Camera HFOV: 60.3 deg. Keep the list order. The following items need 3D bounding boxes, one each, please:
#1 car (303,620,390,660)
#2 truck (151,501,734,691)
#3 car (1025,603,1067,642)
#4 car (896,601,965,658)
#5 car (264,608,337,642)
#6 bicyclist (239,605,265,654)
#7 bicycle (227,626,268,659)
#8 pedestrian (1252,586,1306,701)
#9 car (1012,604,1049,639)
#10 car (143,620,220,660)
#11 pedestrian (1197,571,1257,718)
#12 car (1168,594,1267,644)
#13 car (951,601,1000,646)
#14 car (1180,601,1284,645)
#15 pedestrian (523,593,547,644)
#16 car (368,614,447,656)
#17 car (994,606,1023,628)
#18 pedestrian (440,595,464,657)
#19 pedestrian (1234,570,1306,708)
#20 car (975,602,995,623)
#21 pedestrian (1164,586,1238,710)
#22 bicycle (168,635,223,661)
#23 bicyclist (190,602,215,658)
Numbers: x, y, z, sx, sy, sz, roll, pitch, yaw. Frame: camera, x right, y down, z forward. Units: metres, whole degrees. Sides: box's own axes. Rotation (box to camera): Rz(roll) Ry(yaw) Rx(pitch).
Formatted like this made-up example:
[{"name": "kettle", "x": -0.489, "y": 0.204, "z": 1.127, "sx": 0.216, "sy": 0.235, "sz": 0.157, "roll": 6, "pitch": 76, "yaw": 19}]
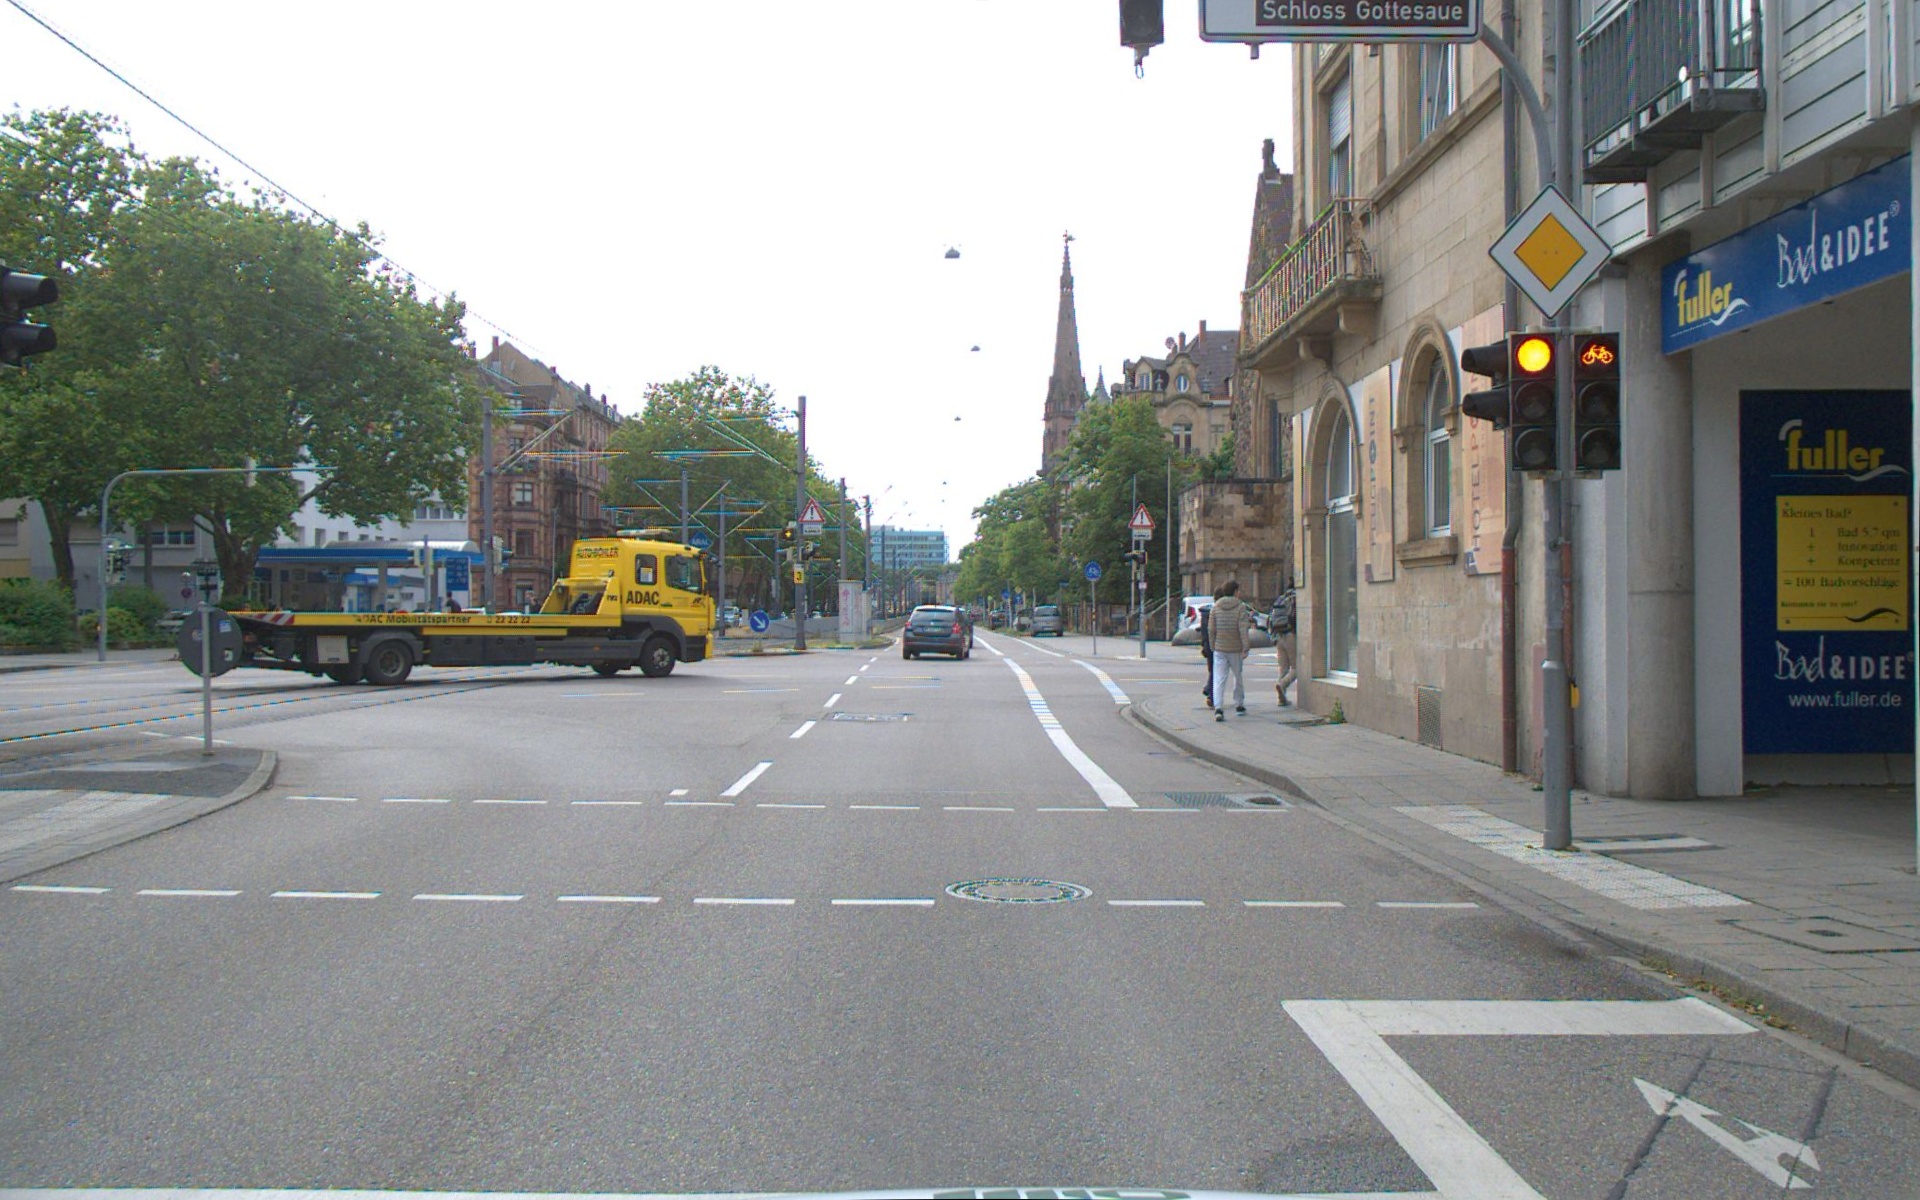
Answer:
[{"name": "car", "x": -21.702, "y": 1.391, "z": 58.661, "sx": 1.601, "sy": 1.349, "sz": 3.999, "roll": 1, "pitch": -1, "yaw": -1}, {"name": "truck", "x": -9.097, "y": -0.017, "z": 30.442, "sx": 10.091, "sy": 2.992, "sz": 2.597, "roll": 1, "pitch": 0, "yaw": -42}, {"name": "car", "x": 4.644, "y": 1.212, "z": 90.064, "sx": 1.953, "sy": 2.049, "sz": 3.999, "roll": 1, "pitch": -1, "yaw": -1}, {"name": "car", "x": -0.830, "y": 0.817, "z": 46.345, "sx": 1.798, "sy": 1.495, "sz": 3.991, "roll": 1, "pitch": -1, "yaw": -1}, {"name": "car", "x": -31.856, "y": 1.187, "z": 79.968, "sx": 1.953, "sy": 1.557, "sz": 3.999, "roll": 1, "pitch": -1, "yaw": -1}, {"name": "bicyclist", "x": -23.520, "y": 0.979, "z": 54.941, "sx": 0.576, "sy": 1.595, "sz": 0.618, "roll": 1, "pitch": -1, "yaw": -1}, {"name": "bicycle", "x": -23.524, "y": 1.403, "z": 54.653, "sx": 0.511, "sy": 1.035, "sz": 1.936, "roll": 1, "pitch": -1, "yaw": -1}, {"name": "pedestrian", "x": 4.592, "y": 0.620, "z": 23.861, "sx": 0.685, "sy": 1.621, "sz": 0.831, "roll": 1, "pitch": -1, "yaw": 7}, {"name": "car", "x": 4.214, "y": 1.285, "z": 99.705, "sx": 1.953, "sy": 2.049, "sz": 3.999, "roll": 1, "pitch": -1, "yaw": -1}, {"name": "car", "x": -32.537, "y": 1.663, "z": 69.246, "sx": 1.859, "sy": 1.585, "sz": 3.828, "roll": 1, "pitch": -1, "yaw": -9}, {"name": "pedestrian", "x": 3.482, "y": 0.569, "z": 21.504, "sx": 0.571, "sy": 1.845, "sz": 1.015, "roll": 1, "pitch": -1, "yaw": 19}, {"name": "car", "x": 10.636, "y": 0.780, "z": 68.457, "sx": 3.721, "sy": 1.937, "sz": 2.000, "roll": 1, "pitch": -1, "yaw": -1}, {"name": "car", "x": 0.552, "y": 0.888, "z": 62.918, "sx": 1.769, "sy": 1.614, "sz": 4.340, "roll": 1, "pitch": -1, "yaw": -1}, {"name": "car", "x": 10.683, "y": 0.904, "z": 65.046, "sx": 3.721, "sy": 1.629, "sz": 2.000, "roll": 1, "pitch": -1, "yaw": -1}, {"name": "pedestrian", "x": -13.247, "y": 0.585, "z": 51.584, "sx": 0.640, "sy": 1.564, "sz": 0.465, "roll": 1, "pitch": -1, "yaw": -5}, {"name": "car", "x": -21.657, "y": 1.348, "z": 65.003, "sx": 1.856, "sy": 1.585, "sz": 3.835, "roll": 1, "pitch": -1, "yaw": -1}, {"name": "car", "x": 3.752, "y": 1.296, "z": 128.429, "sx": 1.953, "sy": 1.635, "sz": 4.163, "roll": -2, "pitch": 0, "yaw": -1}, {"name": "pedestrian", "x": -15.040, "y": 0.767, "z": 48.974, "sx": 0.562, "sy": 1.826, "sz": 0.518, "roll": 1, "pitch": -1, "yaw": -5}, {"name": "pedestrian", "x": 4.251, "y": 0.524, "z": 22.659, "sx": 0.614, "sy": 1.809, "sz": 1.133, "roll": -3, "pitch": -1, "yaw": 25}, {"name": "car", "x": 2.589, "y": 1.310, "z": 172.424, "sx": 1.953, "sy": 2.049, "sz": 3.999, "roll": 1, "pitch": -1, "yaw": -1}, {"name": "pedestrian", "x": 3.391, "y": 0.664, "z": 23.209, "sx": 0.616, "sy": 1.681, "sz": 0.993, "roll": 0, "pitch": -1, "yaw": 36}, {"name": "bicycle", "x": -24.937, "y": 1.553, "z": 53.950, "sx": 1.645, "sy": 0.786, "sz": 0.656, "roll": 1, "pitch": -1, "yaw": 20}, {"name": "bicyclist", "x": -24.743, "y": 0.972, "z": 54.015, "sx": 0.522, "sy": 1.815, "sz": 0.470, "roll": 1, "pitch": -1, "yaw": 19}]
